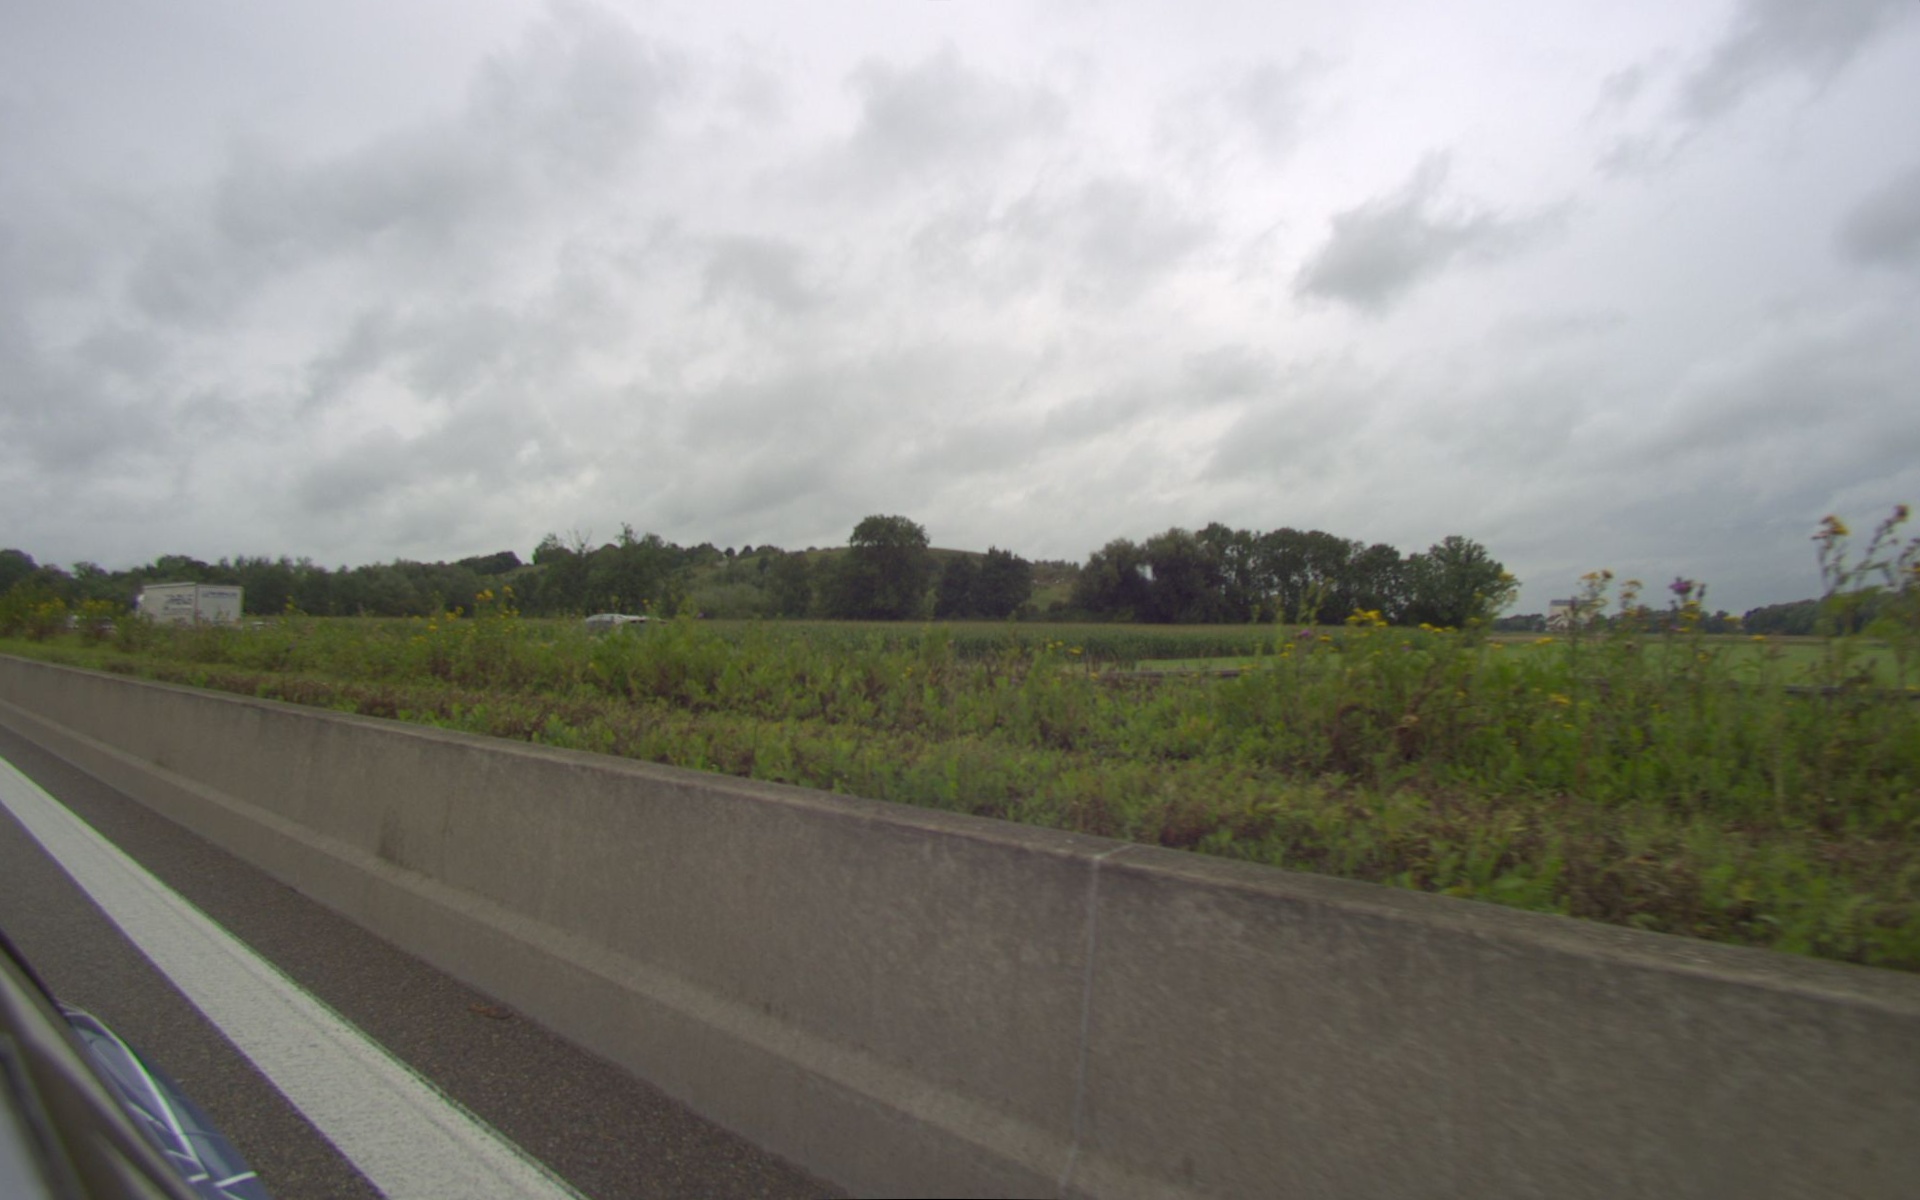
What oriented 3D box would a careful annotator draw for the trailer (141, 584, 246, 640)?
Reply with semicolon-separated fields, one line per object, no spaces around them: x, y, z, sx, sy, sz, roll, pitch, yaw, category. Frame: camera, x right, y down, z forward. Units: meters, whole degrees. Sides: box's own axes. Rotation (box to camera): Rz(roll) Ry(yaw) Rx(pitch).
-51.162;0.777;67.326;13.234;3.454;2.885;-1;0;41;trailer

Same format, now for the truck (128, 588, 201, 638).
-56.760;0.895;72.176;5.623;3.454;2.940;-1;0;40;truck

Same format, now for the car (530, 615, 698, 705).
-8.578;1.422;24.944;4.346;2.029;1.973;-1;-3;41;car

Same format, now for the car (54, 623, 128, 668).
-40.809;2.124;47.488;4.346;2.029;1.973;-1;-3;41;car

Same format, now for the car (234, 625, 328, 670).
-26.998;1.863;40.199;4.346;1.710;1.973;-1;-3;41;car
